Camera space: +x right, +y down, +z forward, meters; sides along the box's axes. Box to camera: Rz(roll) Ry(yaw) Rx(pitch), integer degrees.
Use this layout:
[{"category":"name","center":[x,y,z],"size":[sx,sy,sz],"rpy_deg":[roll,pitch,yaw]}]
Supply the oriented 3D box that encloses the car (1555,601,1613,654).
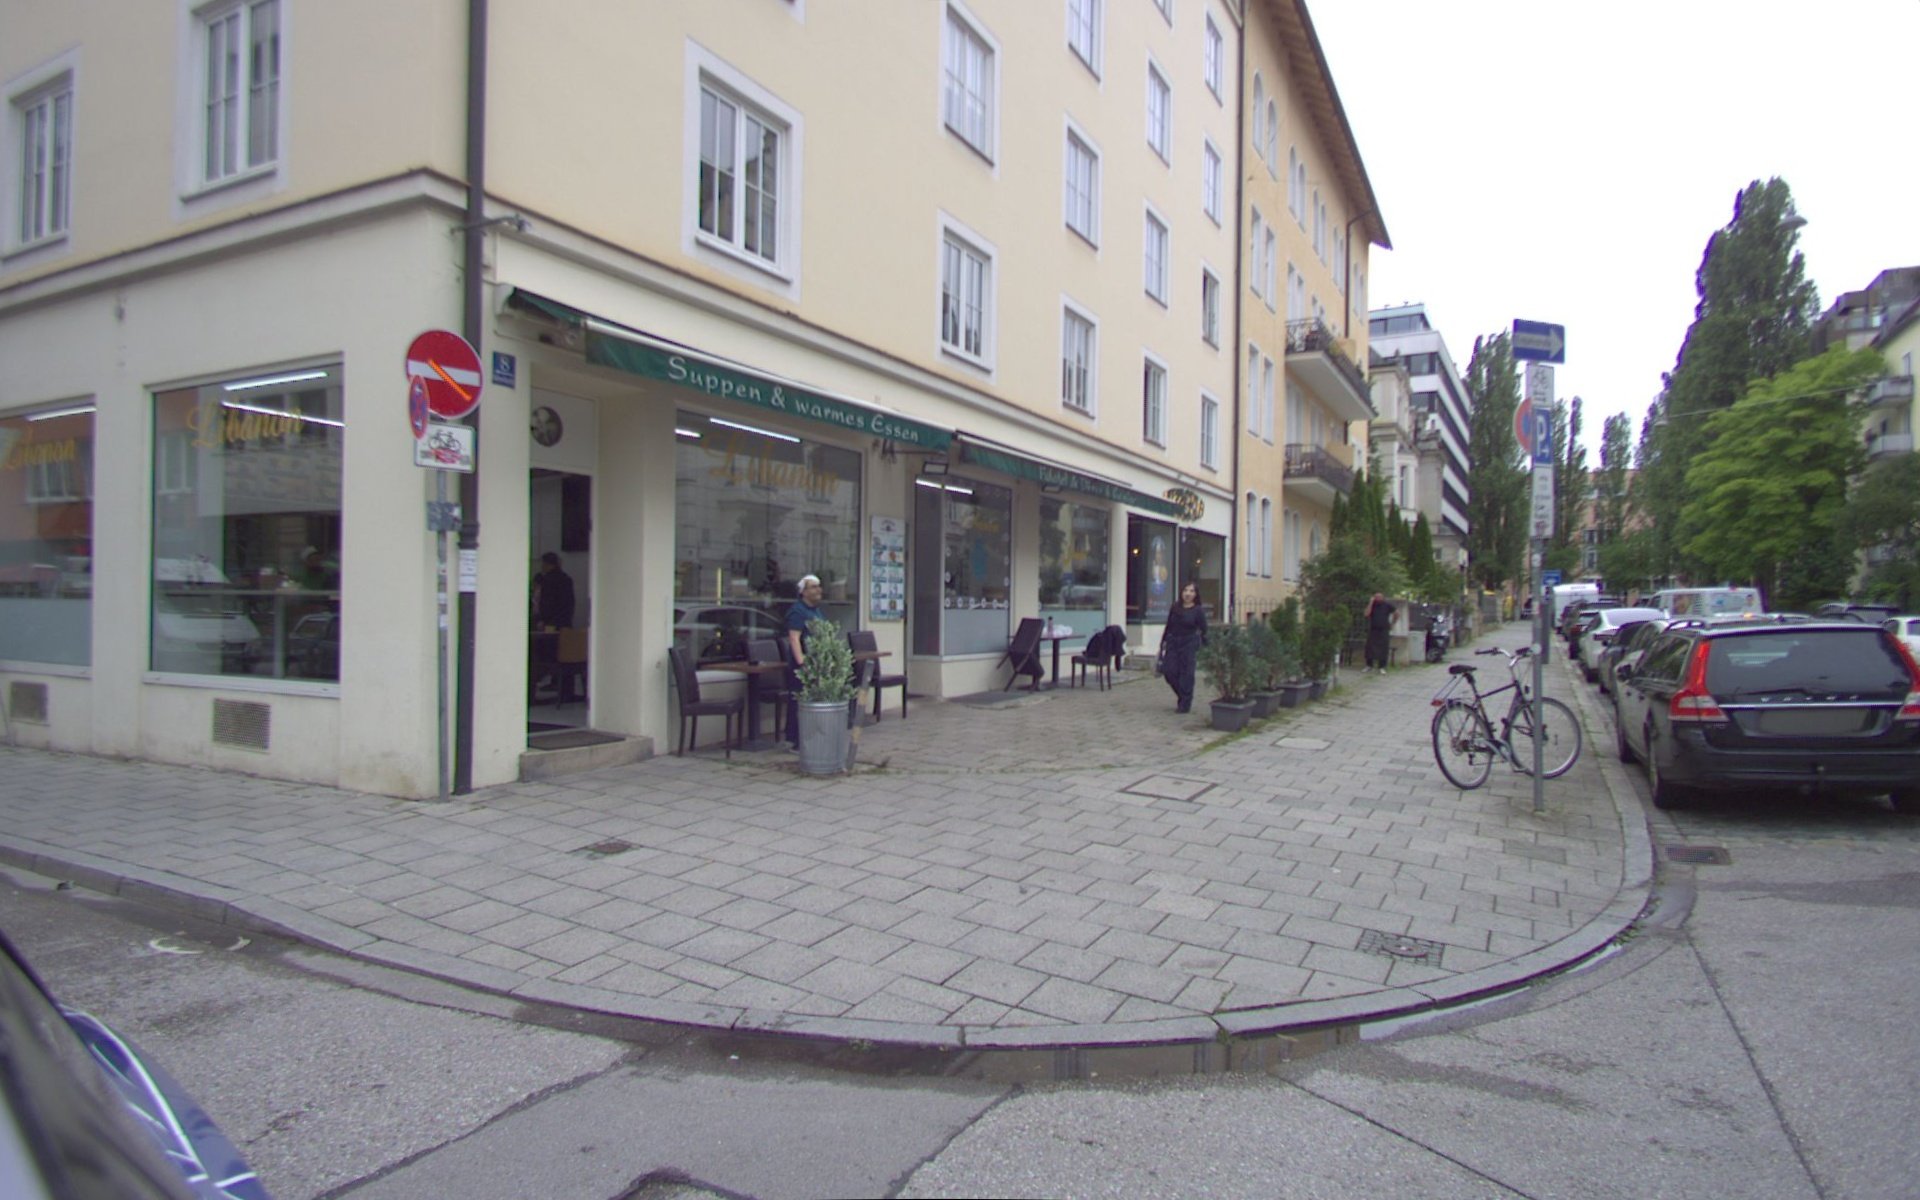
[{"category":"car","center":[23.517,1.006,38.220],"size":[1.701,1.874,3.960],"rpy_deg":[0,-1,29]}]

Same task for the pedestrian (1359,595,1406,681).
[{"category":"pedestrian","center":[8.519,0.744,20.412],"size":[0.730,1.669,0.783],"rpy_deg":[2,0,30]}]

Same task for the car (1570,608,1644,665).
[{"category":"car","center":[20.175,1.104,31.681],"size":[1.701,1.660,3.960],"rpy_deg":[0,-1,29]}]

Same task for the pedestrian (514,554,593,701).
[{"category":"pedestrian","center":[-5.033,0.339,12.516],"size":[0.746,1.738,0.772],"rpy_deg":[2,-2,-31]}]

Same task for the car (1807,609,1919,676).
[{"category":"car","center":[24.511,1.104,27.413],"size":[1.701,1.660,3.960],"rpy_deg":[0,-1,29]}]

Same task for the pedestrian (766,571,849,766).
[{"category":"pedestrian","center":[-1.340,0.584,8.964],"size":[0.533,1.654,0.603],"rpy_deg":[0,-1,14]}]

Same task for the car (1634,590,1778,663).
[{"category":"car","center":[27.273,0.952,37.253],"size":[2.136,2.494,4.596],"rpy_deg":[0,-1,5]}]

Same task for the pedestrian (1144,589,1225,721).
[{"category":"pedestrian","center":[2.845,0.665,12.771],"size":[0.746,1.563,0.844],"rpy_deg":[2,1,29]}]

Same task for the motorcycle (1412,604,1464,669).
[{"category":"motorcycle","center":[11.695,0.895,24.704],"size":[0.960,1.473,2.860],"rpy_deg":[0,-2,29]}]

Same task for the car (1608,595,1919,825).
[{"category":"car","center":[7.074,0.788,8.905],"size":[1.895,1.527,4.306],"rpy_deg":[-4,-2,28]}]

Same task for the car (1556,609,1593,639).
[{"category":"car","center":[35.205,1.357,58.062],"size":[1.701,1.660,3.960],"rpy_deg":[0,-1,29]}]

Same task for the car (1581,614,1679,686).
[{"category":"car","center":[15.060,1.061,22.905],"size":[1.614,1.453,3.958],"rpy_deg":[0,-1,31]}]

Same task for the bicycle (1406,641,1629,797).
[{"category":"bicycle","center":[4.681,0.953,8.491],"size":[1.803,1.178,0.611],"rpy_deg":[1,0,-22]}]

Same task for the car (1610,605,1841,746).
[{"category":"car","center":[9.706,0.877,13.182],"size":[1.676,1.519,4.224],"rpy_deg":[-2,-2,28]}]

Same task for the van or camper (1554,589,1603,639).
[{"category":"van or camper","center":[38.753,0.882,63.522],"size":[2.418,2.957,5.318],"rpy_deg":[0,-1,29]}]

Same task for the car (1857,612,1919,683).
[{"category":"car","center":[22.385,1.066,23.429],"size":[1.681,1.545,3.830],"rpy_deg":[0,-1,30]}]

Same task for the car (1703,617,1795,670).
[{"category":"car","center":[21.345,1.136,27.478],"size":[1.600,1.341,2.922],"rpy_deg":[0,-1,30]}]

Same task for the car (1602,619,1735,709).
[{"category":"car","center":[12.103,1.010,17.482],"size":[1.588,1.351,3.773],"rpy_deg":[0,-1,31]}]
